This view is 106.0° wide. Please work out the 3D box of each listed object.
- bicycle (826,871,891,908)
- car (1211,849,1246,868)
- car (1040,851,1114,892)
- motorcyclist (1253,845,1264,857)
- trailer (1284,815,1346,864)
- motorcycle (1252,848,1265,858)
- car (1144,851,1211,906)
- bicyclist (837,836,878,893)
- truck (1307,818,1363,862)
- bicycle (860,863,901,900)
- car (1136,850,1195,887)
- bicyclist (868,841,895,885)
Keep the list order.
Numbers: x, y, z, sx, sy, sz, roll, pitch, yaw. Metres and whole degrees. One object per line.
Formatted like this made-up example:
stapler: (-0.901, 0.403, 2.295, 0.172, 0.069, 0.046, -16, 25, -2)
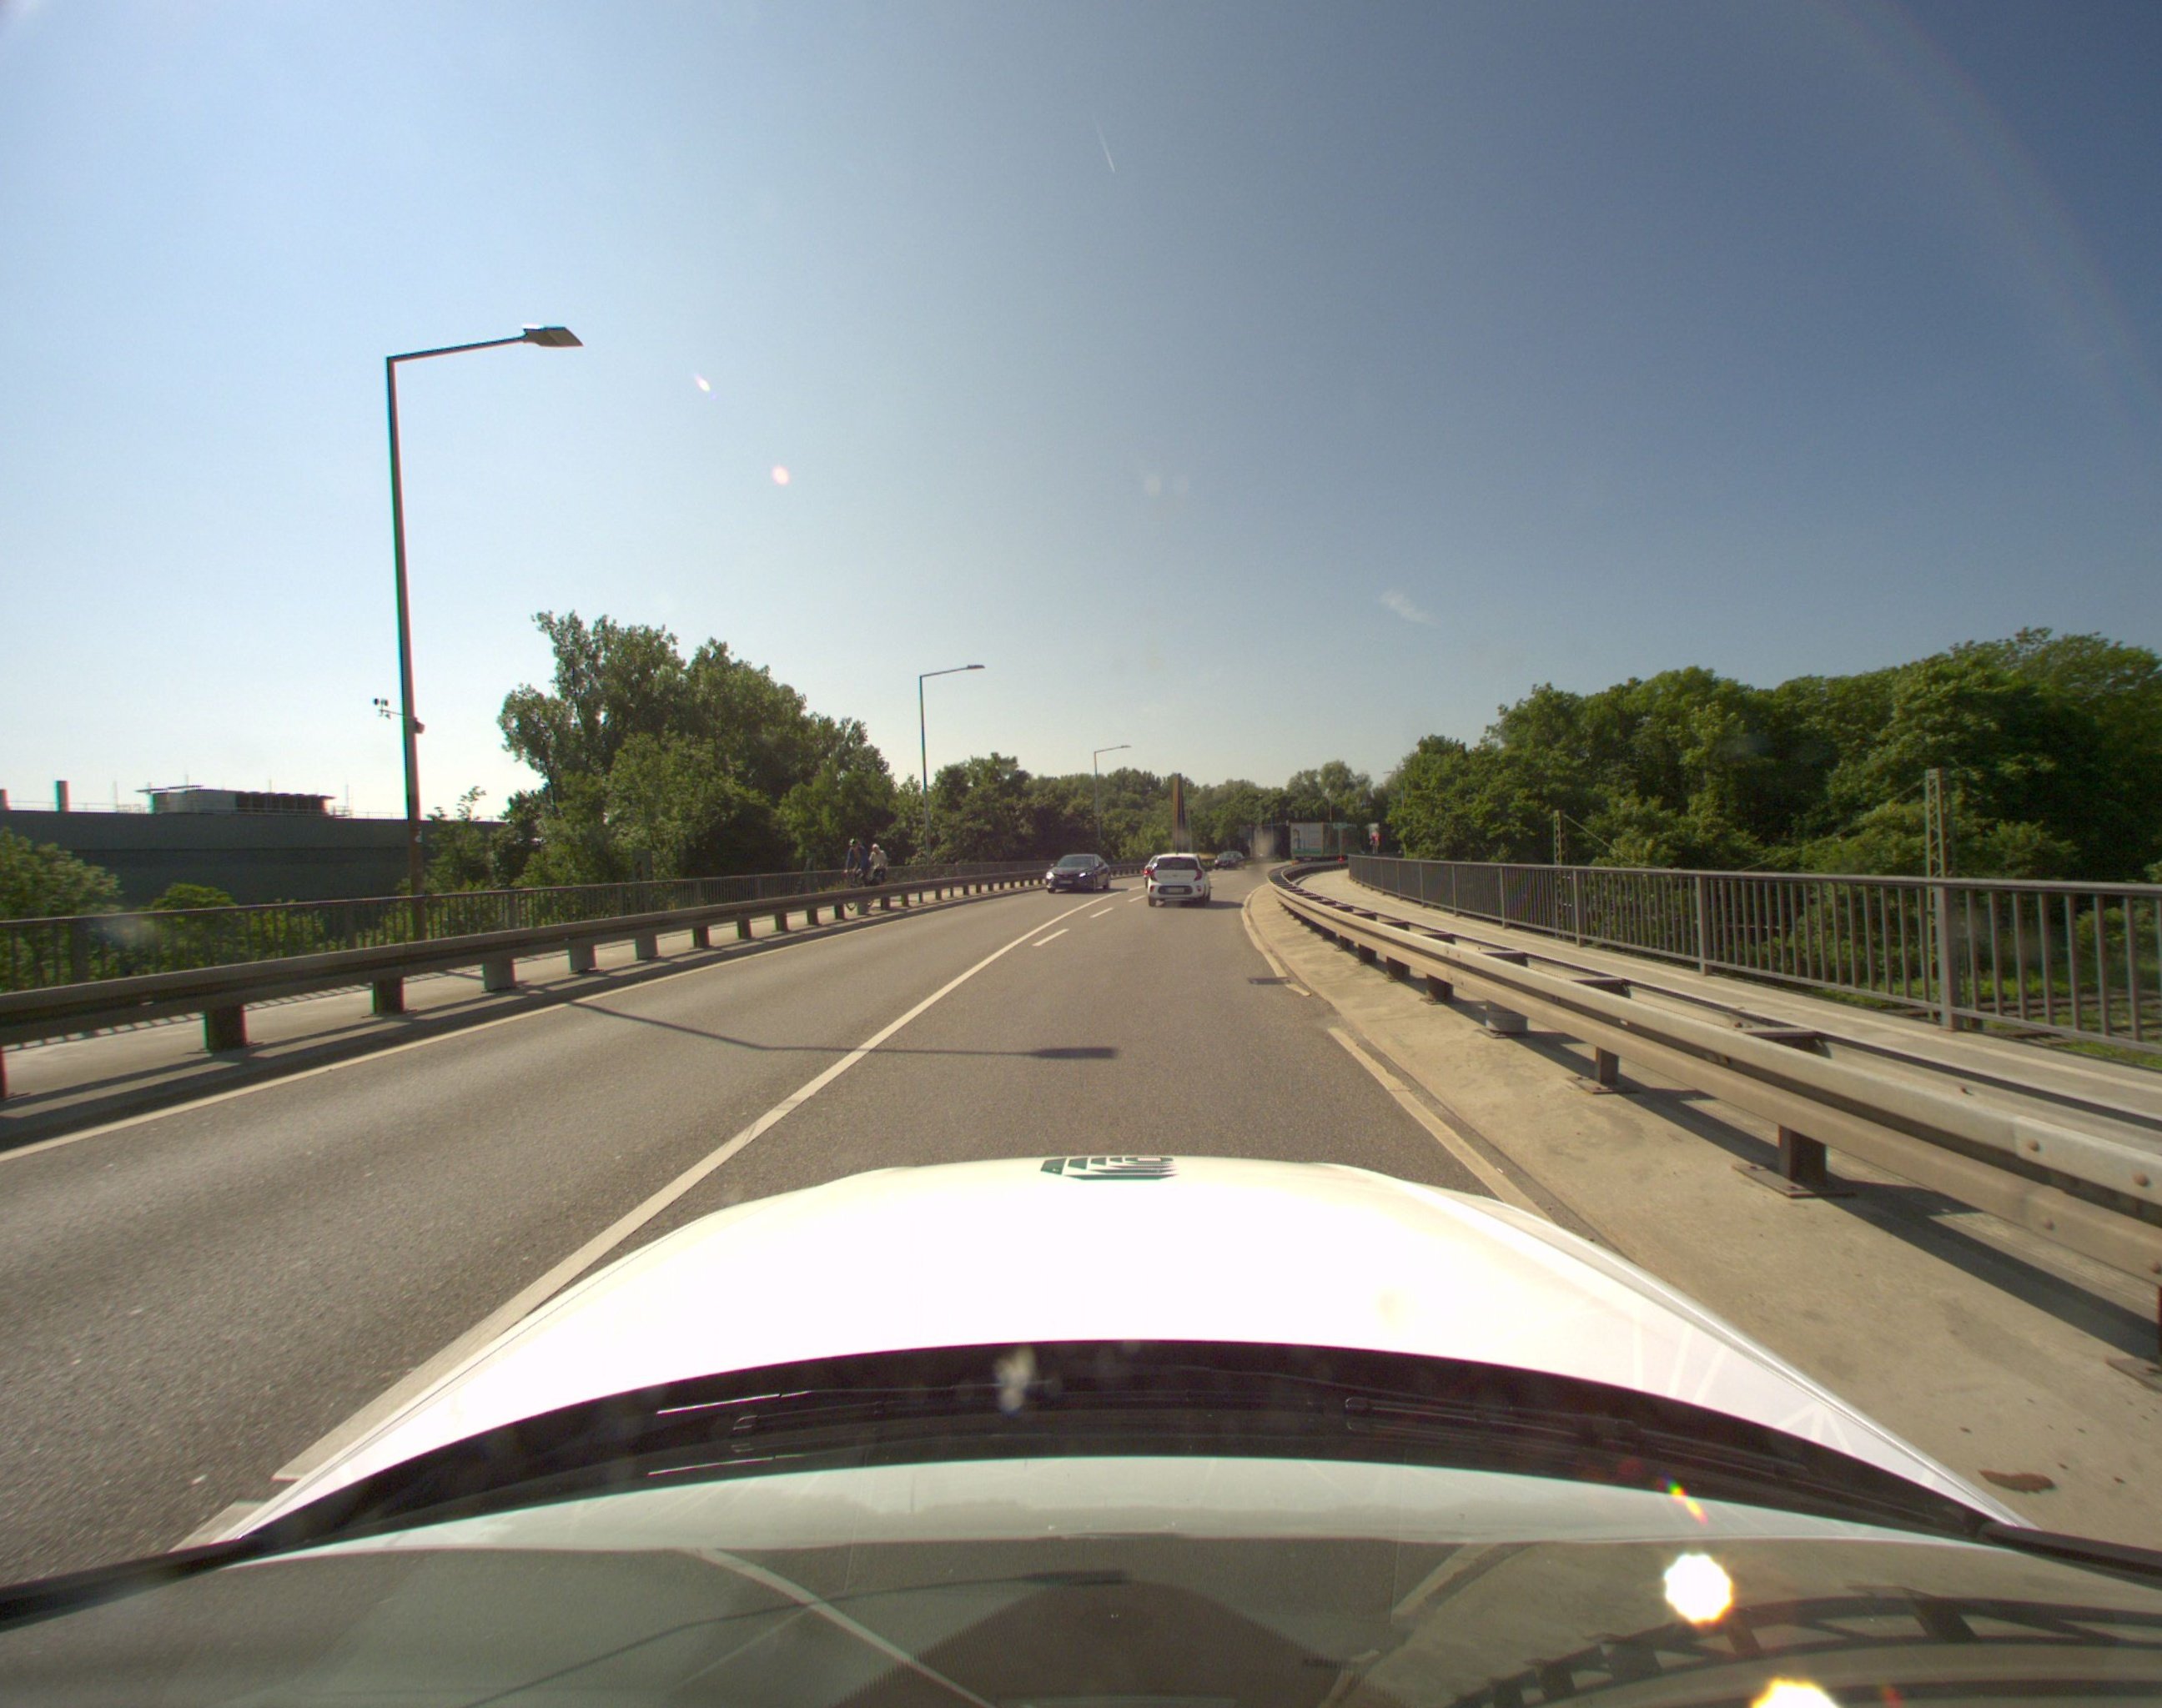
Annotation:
bicycle: (-5.992, 0.942, 22.051, 0.923, 0.891, 1.973, -1, 1, 10)
car: (12.215, 0.358, 67.084, 1.839, 1.442, 4.541, 0, 1, 24)
car: (-0.051, 0.631, 32.174, 1.806, 1.430, 4.881, -2, 0, 13)
motorcyclist: (27.978, -0.451, 128.394, 0.896, 1.870, 1.448, 0, -1, -35)
trailer: (19.173, -1.196, 66.418, 3.194, 3.758, 7.872, 1, 1, 28)
motorcycle: (27.987, -0.093, 128.362, 0.903, 1.529, 1.961, 0, -1, -35)
car: (2.953, 0.677, 24.327, 1.691, 1.494, 4.012, 0, 0, 11)
bicyclist: (-5.987, 0.283, 21.836, 0.655, 1.496, 1.020, 0, -1, 13)
truck: (23.001, -1.270, 73.547, 3.230, 3.758, 8.421, 1, 1, 28)
bicycle: (-6.206, 0.828, 25.262, 0.570, 1.046, 1.714, -3, 0, 9)
car: (3.736, 0.584, 35.137, 1.925, 1.486, 4.917, 0, 0, 13)
bicyclist: (-6.190, 0.279, 25.264, 0.485, 1.329, 0.948, -1, -1, 8)
